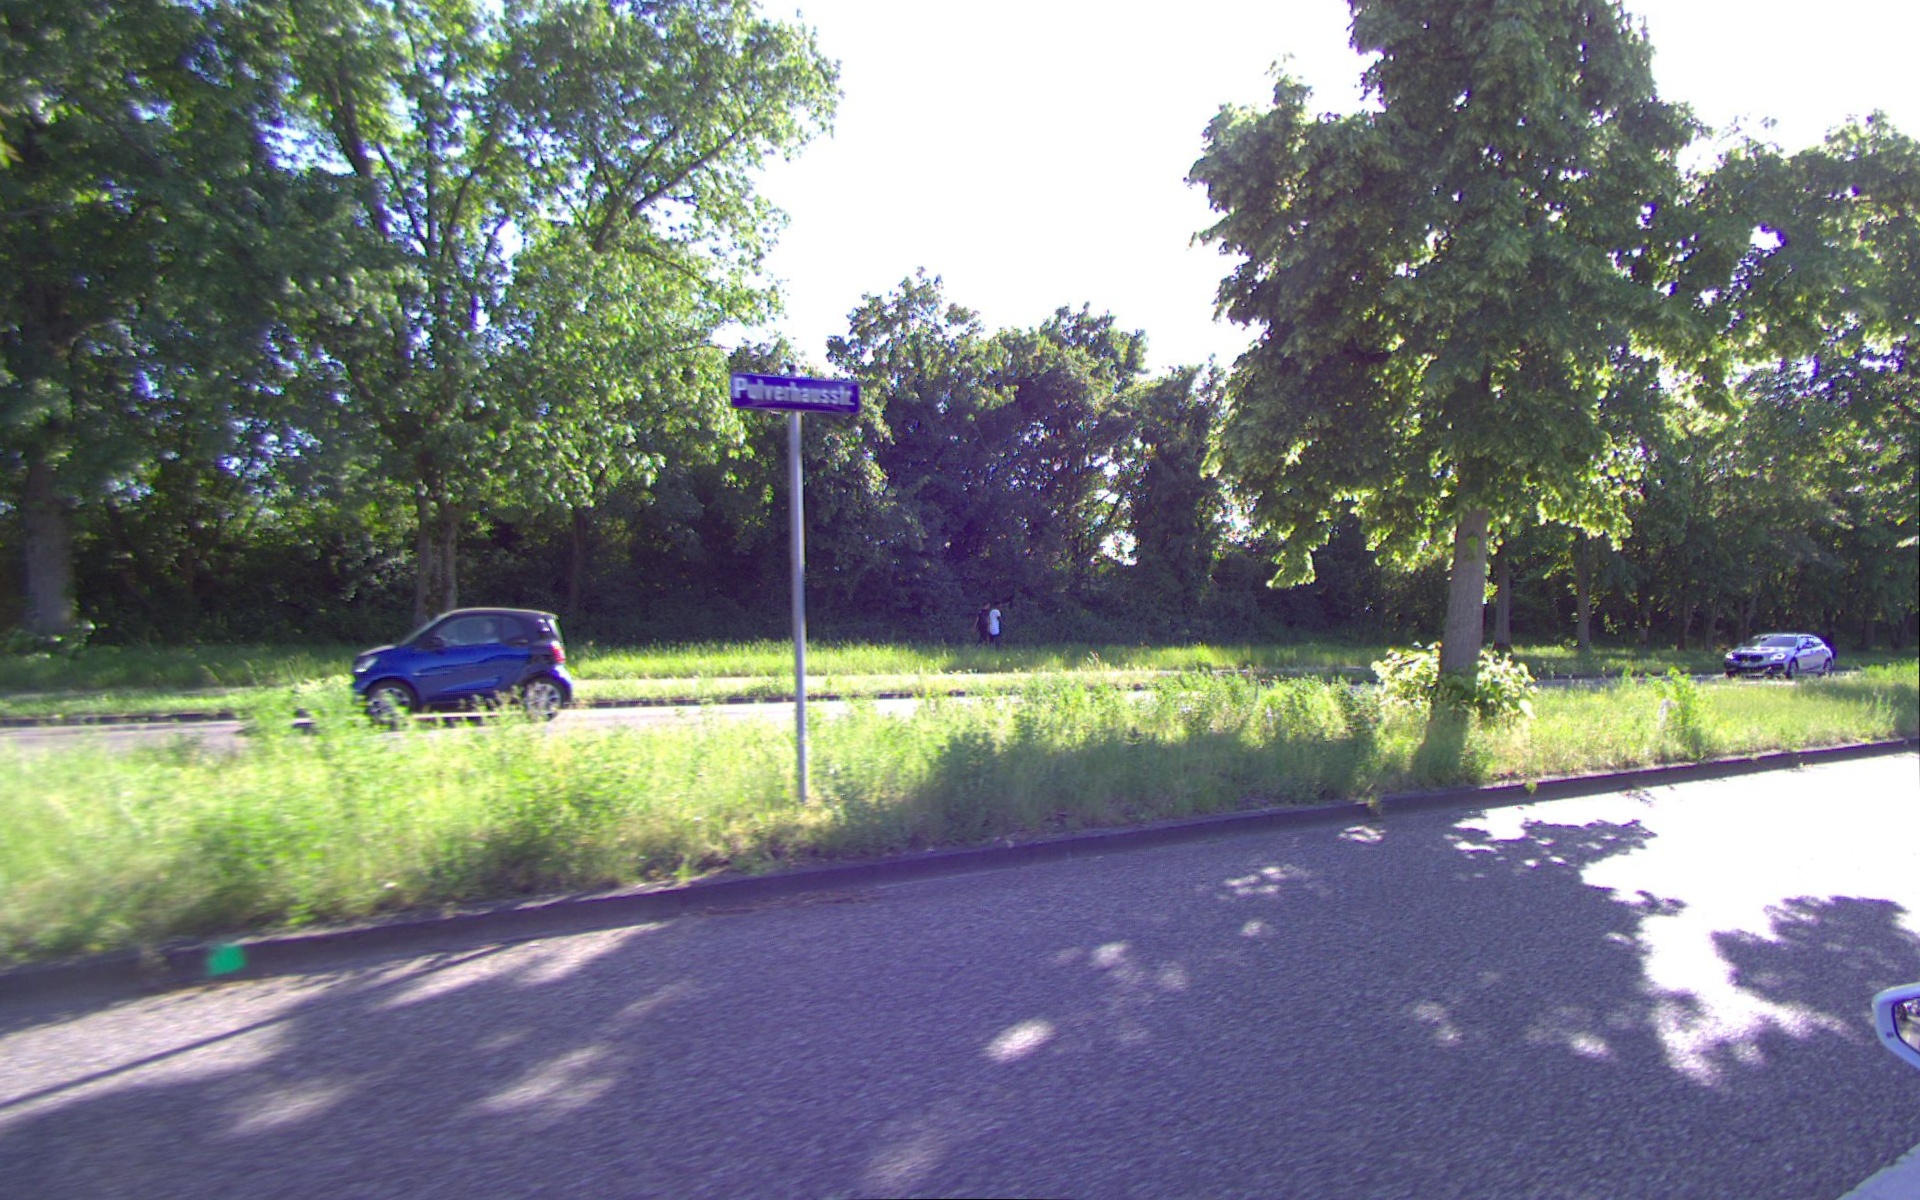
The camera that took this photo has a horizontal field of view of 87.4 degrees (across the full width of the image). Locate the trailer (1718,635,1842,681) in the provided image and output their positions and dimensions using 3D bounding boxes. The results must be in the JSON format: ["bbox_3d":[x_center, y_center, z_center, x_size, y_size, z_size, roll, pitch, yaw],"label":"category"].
[{"bbox_3d":[27.346,1.901,33.460,4.443,1.443,1.733,2,-2,-30],"label":"trailer"}]

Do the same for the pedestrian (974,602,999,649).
[{"bbox_3d":[0.860,0.800,32.104,0.589,1.479,0.542,1,0,-30],"label":"pedestrian"}]

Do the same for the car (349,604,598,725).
[{"bbox_3d":[-6.821,0.876,14.157,2.981,1.525,1.707,1,-3,-31],"label":"car"}]

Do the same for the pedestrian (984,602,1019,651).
[{"bbox_3d":[1.295,0.827,31.334,0.906,1.479,0.542,1,0,-30],"label":"pedestrian"}]
